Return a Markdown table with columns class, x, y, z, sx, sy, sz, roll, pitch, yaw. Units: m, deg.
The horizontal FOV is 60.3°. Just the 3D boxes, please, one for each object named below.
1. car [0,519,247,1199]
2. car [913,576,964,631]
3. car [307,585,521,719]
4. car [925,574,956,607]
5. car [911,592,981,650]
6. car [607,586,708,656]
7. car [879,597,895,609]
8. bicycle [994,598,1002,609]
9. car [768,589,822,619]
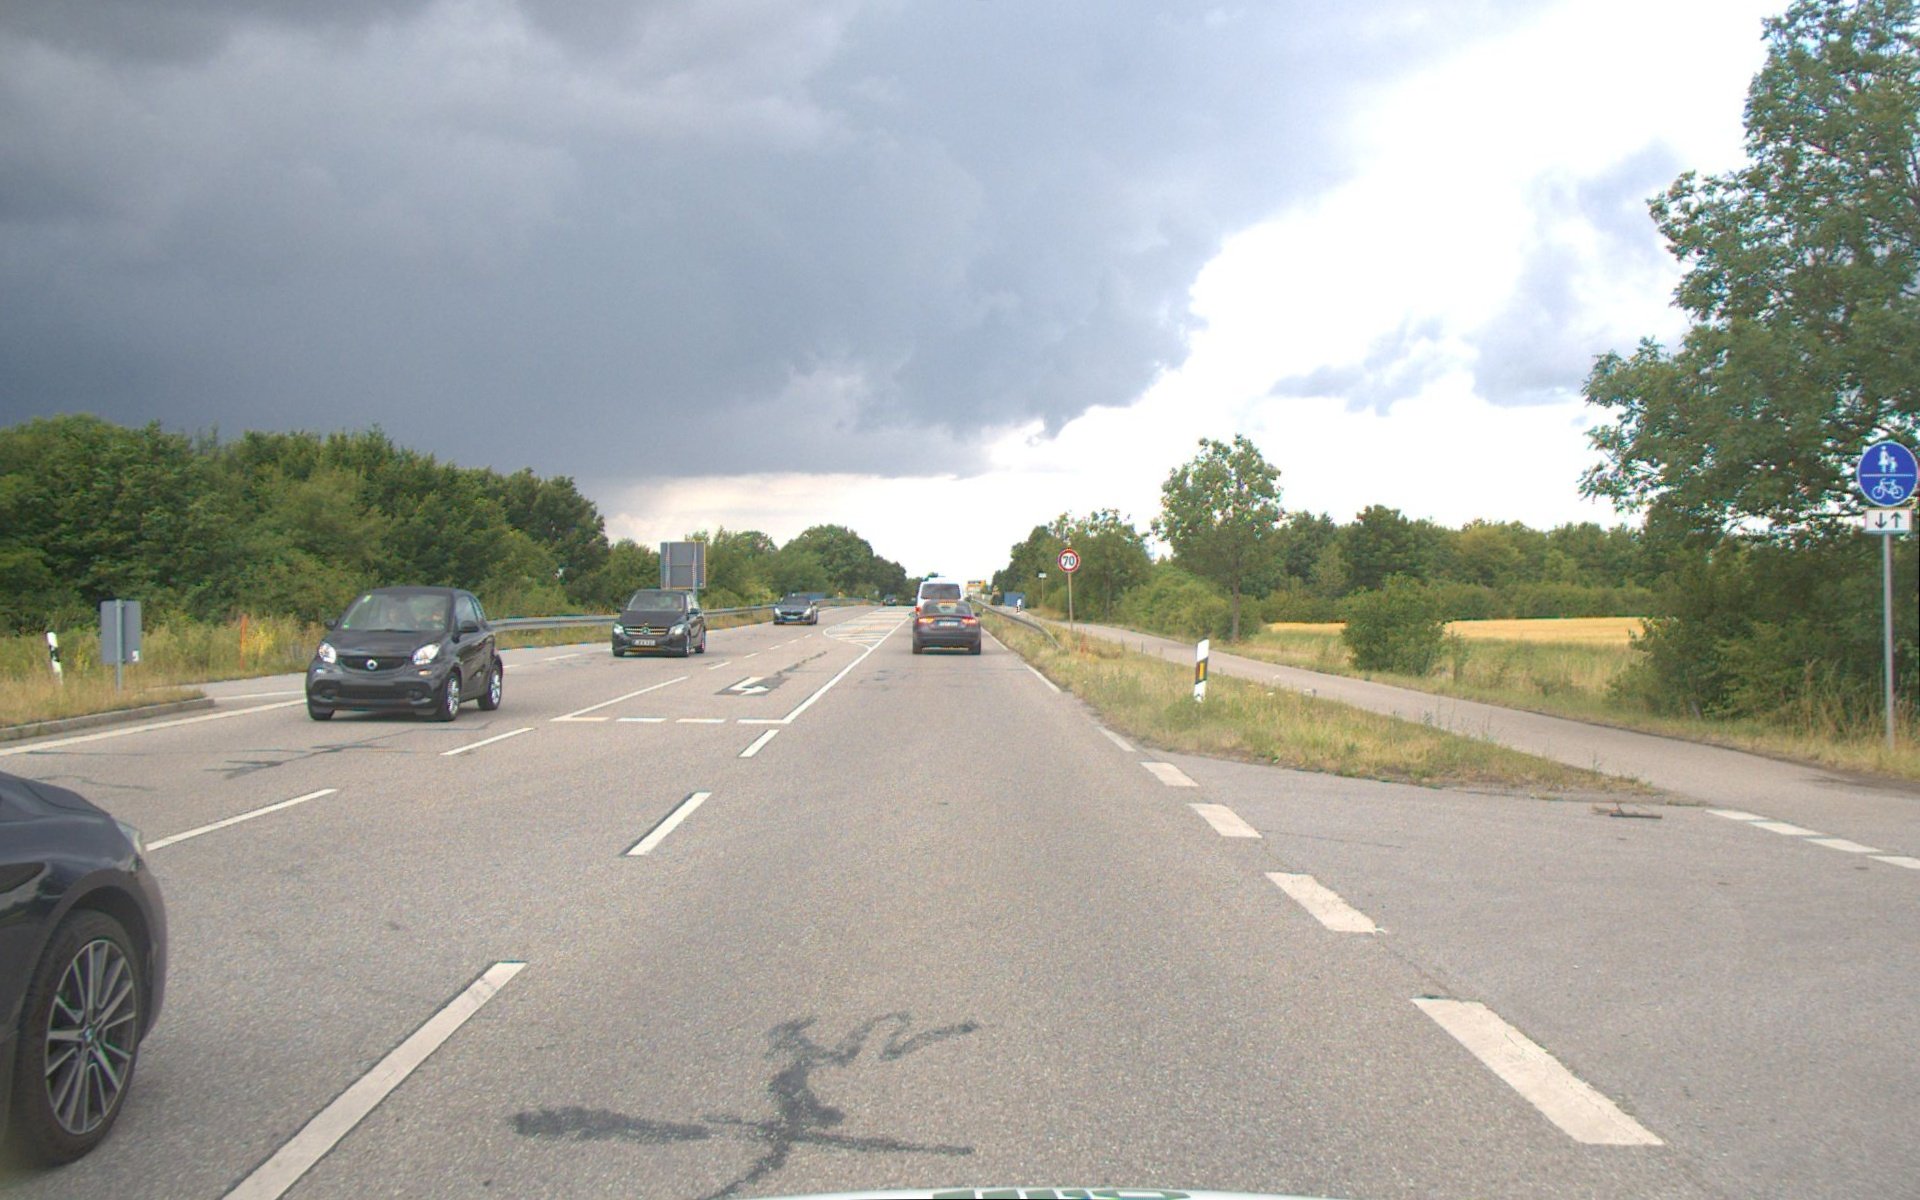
| class | x | y | z | sx | sy | sz | roll | pitch | yaw |
| --- | --- | --- | --- | --- | --- | --- | --- | --- | --- |
| car | -3.022 | 0.620 | 2.884 | 1.668 | 1.639 | 4.481 | 1 | 0 | -1 |
| car | -0.771 | 0.127 | 60.035 | 1.749 | 1.923 | 3.999 | 1 | 0 | -1 |
| car | -6.622 | 0.589 | 20.365 | 1.628 | 1.509 | 3.167 | 0 | 0 | -1 |
| car | -1.530 | -0.740 | 132.454 | 2.397 | 2.548 | 5.041 | 1 | 0 | 0 |
| car | -0.386 | 0.528 | 44.031 | 1.749 | 1.448 | 3.999 | 1 | 0 | -1 |
| car | -7.173 | 0.462 | 39.585 | 1.707 | 1.557 | 4.198 | 1 | 0 | -1 |
| car | -9.246 | 0.399 | 208.972 | 1.824 | 1.400 | 4.000 | 2 | -1 | 0 |
| bicycle | 3.250 | 0.258 | 141.982 | 0.652 | 0.936 | 1.830 | 0 | 0 | -1 |
| car | -7.711 | 0.173 | 77.705 | 2.120 | 1.307 | 4.237 | 1 | 1 | -1 |
